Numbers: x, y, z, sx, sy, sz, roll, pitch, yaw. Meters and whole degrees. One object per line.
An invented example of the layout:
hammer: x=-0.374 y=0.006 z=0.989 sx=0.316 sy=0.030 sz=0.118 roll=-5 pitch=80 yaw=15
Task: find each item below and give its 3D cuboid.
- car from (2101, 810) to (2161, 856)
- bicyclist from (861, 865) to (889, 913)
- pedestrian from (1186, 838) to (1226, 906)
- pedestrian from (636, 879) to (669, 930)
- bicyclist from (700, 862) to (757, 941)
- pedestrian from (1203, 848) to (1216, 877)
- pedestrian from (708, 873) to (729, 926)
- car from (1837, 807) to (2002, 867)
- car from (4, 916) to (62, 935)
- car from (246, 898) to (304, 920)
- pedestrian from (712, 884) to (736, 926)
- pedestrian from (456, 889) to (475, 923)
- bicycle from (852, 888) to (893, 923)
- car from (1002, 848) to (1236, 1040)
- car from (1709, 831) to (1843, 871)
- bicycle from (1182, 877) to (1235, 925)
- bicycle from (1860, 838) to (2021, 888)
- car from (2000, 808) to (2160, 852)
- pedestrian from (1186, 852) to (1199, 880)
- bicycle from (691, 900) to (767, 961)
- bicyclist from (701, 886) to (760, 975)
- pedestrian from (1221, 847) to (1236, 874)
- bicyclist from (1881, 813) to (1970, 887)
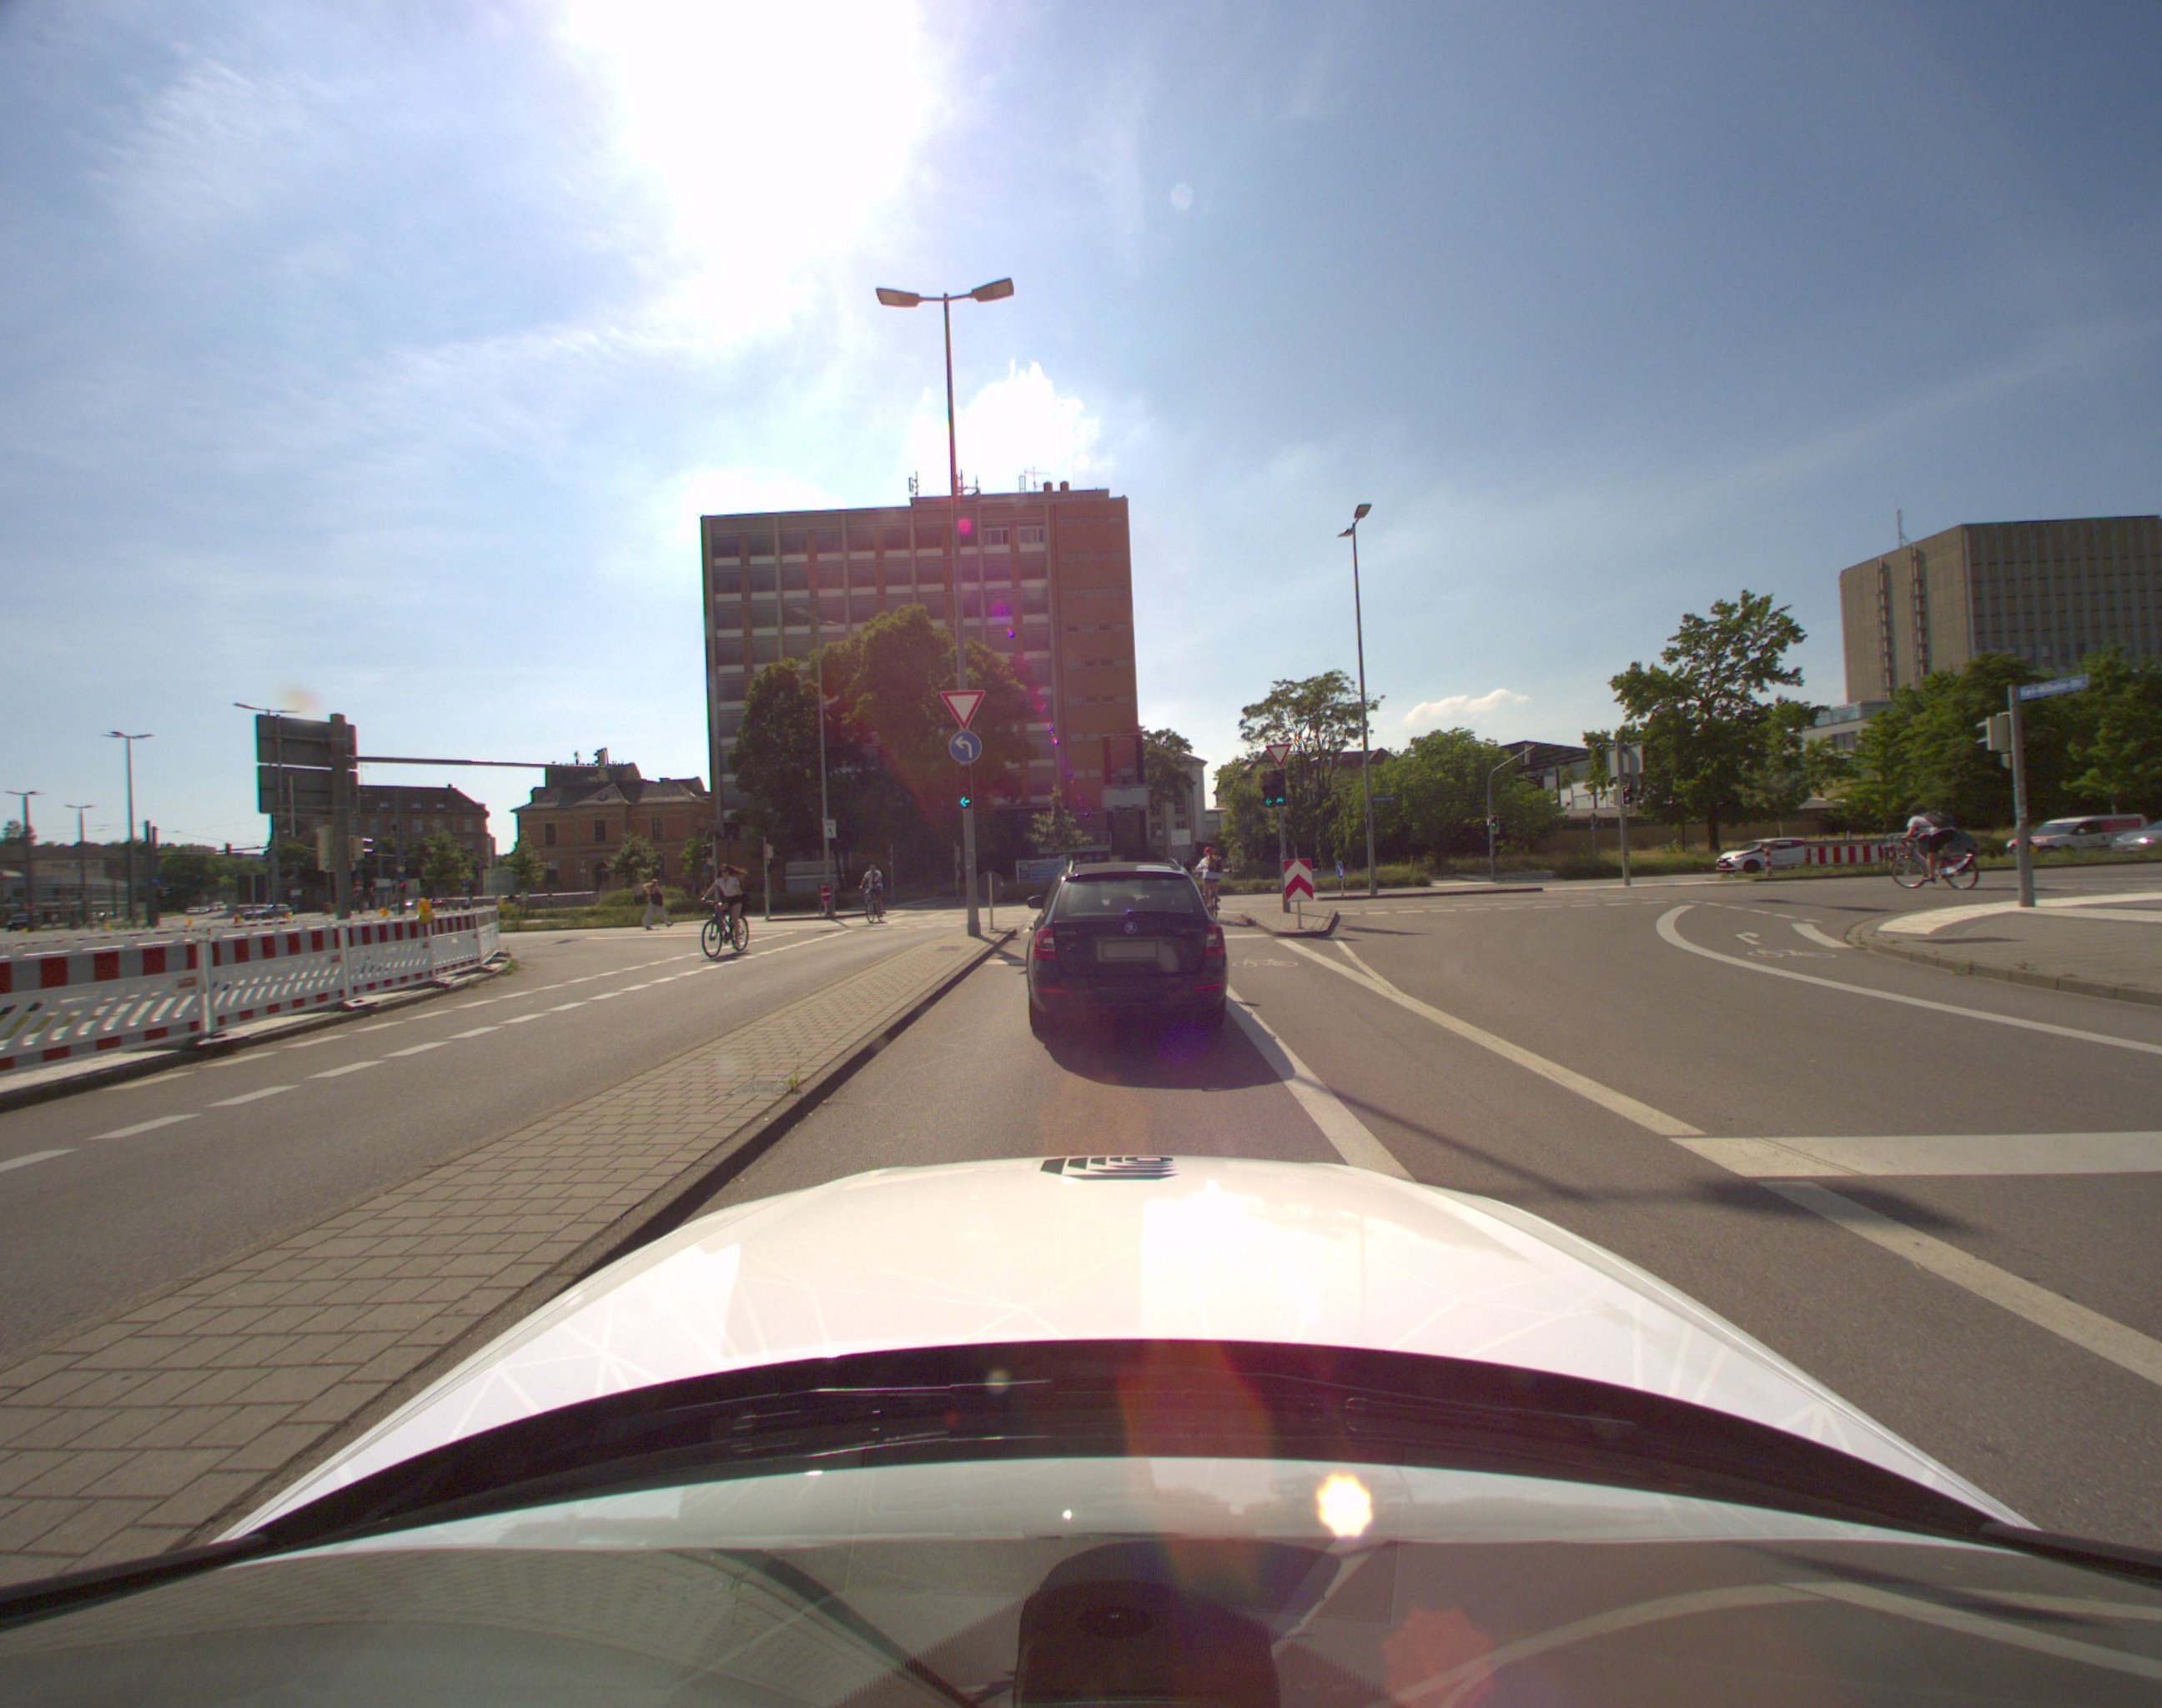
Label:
car: x=36.360 y=-0.775 z=26.406 sx=4.074 sy=1.406 sz=1.642 roll=-3 pitch=-2 yaw=7
bicyclist: x=-6.366 y=1.061 z=25.196 sx=0.537 sy=1.417 sz=1.030 roll=-4 pitch=-2 yaw=0
pedestrian: x=2.793 y=0.396 z=18.274 sx=0.583 sy=1.466 sz=1.010 roll=-1 pitch=-1 yaw=-8
pedestrian: x=-15.224 y=1.792 z=28.974 sx=0.737 sy=1.752 sz=1.105 roll=-3 pitch=-3 yaw=-14
bicyclist: x=-6.811 y=0.895 z=15.774 sx=0.617 sy=1.443 sz=0.919 roll=-5 pitch=-1 yaw=-3
pedestrian: x=8.487 y=0.532 z=53.936 sx=0.634 sy=1.874 sz=0.797 roll=-4 pitch=0 yaw=1
pedestrian: x=-14.180 y=1.768 z=31.834 sx=0.618 sy=2.014 sz=0.679 roll=0 pitch=-2 yaw=-36
car: x=32.347 y=-0.621 z=31.542 sx=3.966 sy=2.014 sz=2.004 roll=-3 pitch=-2 yaw=7
car: x=-114.419 y=7.782 z=88.956 sx=1.646 sy=1.717 sz=3.984 roll=-3 pitch=-1 yaw=-11
car: x=-86.204 y=5.897 z=87.164 sx=1.986 sy=2.013 sz=4.002 roll=-3 pitch=-1 yaw=2
pedestrian: x=-13.234 y=1.884 z=30.213 sx=0.632 sy=1.491 sz=0.614 roll=-3 pitch=-1 yaw=-15
pedestrian: x=-37.821 y=3.202 z=50.047 sx=0.624 sy=2.013 sz=0.522 roll=-3 pitch=-1 yaw=-3
bicycle: x=-6.406 y=1.581 z=25.174 sx=0.702 sy=0.977 sz=2.030 roll=-3 pitch=-2 yaw=0
car: x=0.366 y=0.705 z=8.160 sx=1.773 sy=1.443 sz=3.820 roll=-1 pitch=0 yaw=2
car: x=29.837 y=-0.105 z=35.074 sx=3.972 sy=1.464 sz=2.000 roll=-3 pitch=-2 yaw=1
bicycle: x=2.830 y=1.022 z=18.312 sx=0.596 sy=0.931 sz=2.022 roll=-1 pitch=1 yaw=-8
bicycle: x=17.479 y=0.199 z=16.644 sx=0.675 sy=0.916 sz=2.154 roll=-3 pitch=-1 yaw=-20
car: x=41.862 y=-0.969 z=34.197 sx=4.294 sy=1.569 sz=1.911 roll=-3 pitch=0 yaw=1
pedestrian: x=7.532 y=0.799 z=55.119 sx=0.591 sy=1.874 sz=0.642 roll=-3 pitch=-1 yaw=25
bicycle: x=-6.763 y=1.445 z=15.767 sx=0.617 sy=0.961 sz=1.966 roll=-5 pitch=0 yaw=-3
bicyclist: x=-6.763 y=1.445 z=15.767 sx=0.617 sy=1.581 sz=1.013 roll=-5 pitch=-1 yaw=-3
pedestrian: x=10.442 y=0.455 z=57.748 sx=0.786 sy=1.874 sz=0.643 roll=-4 pitch=0 yaw=27
bicyclist: x=17.367 y=-0.068 z=16.778 sx=0.496 sy=1.470 sz=1.135 roll=0 pitch=-2 yaw=-20
